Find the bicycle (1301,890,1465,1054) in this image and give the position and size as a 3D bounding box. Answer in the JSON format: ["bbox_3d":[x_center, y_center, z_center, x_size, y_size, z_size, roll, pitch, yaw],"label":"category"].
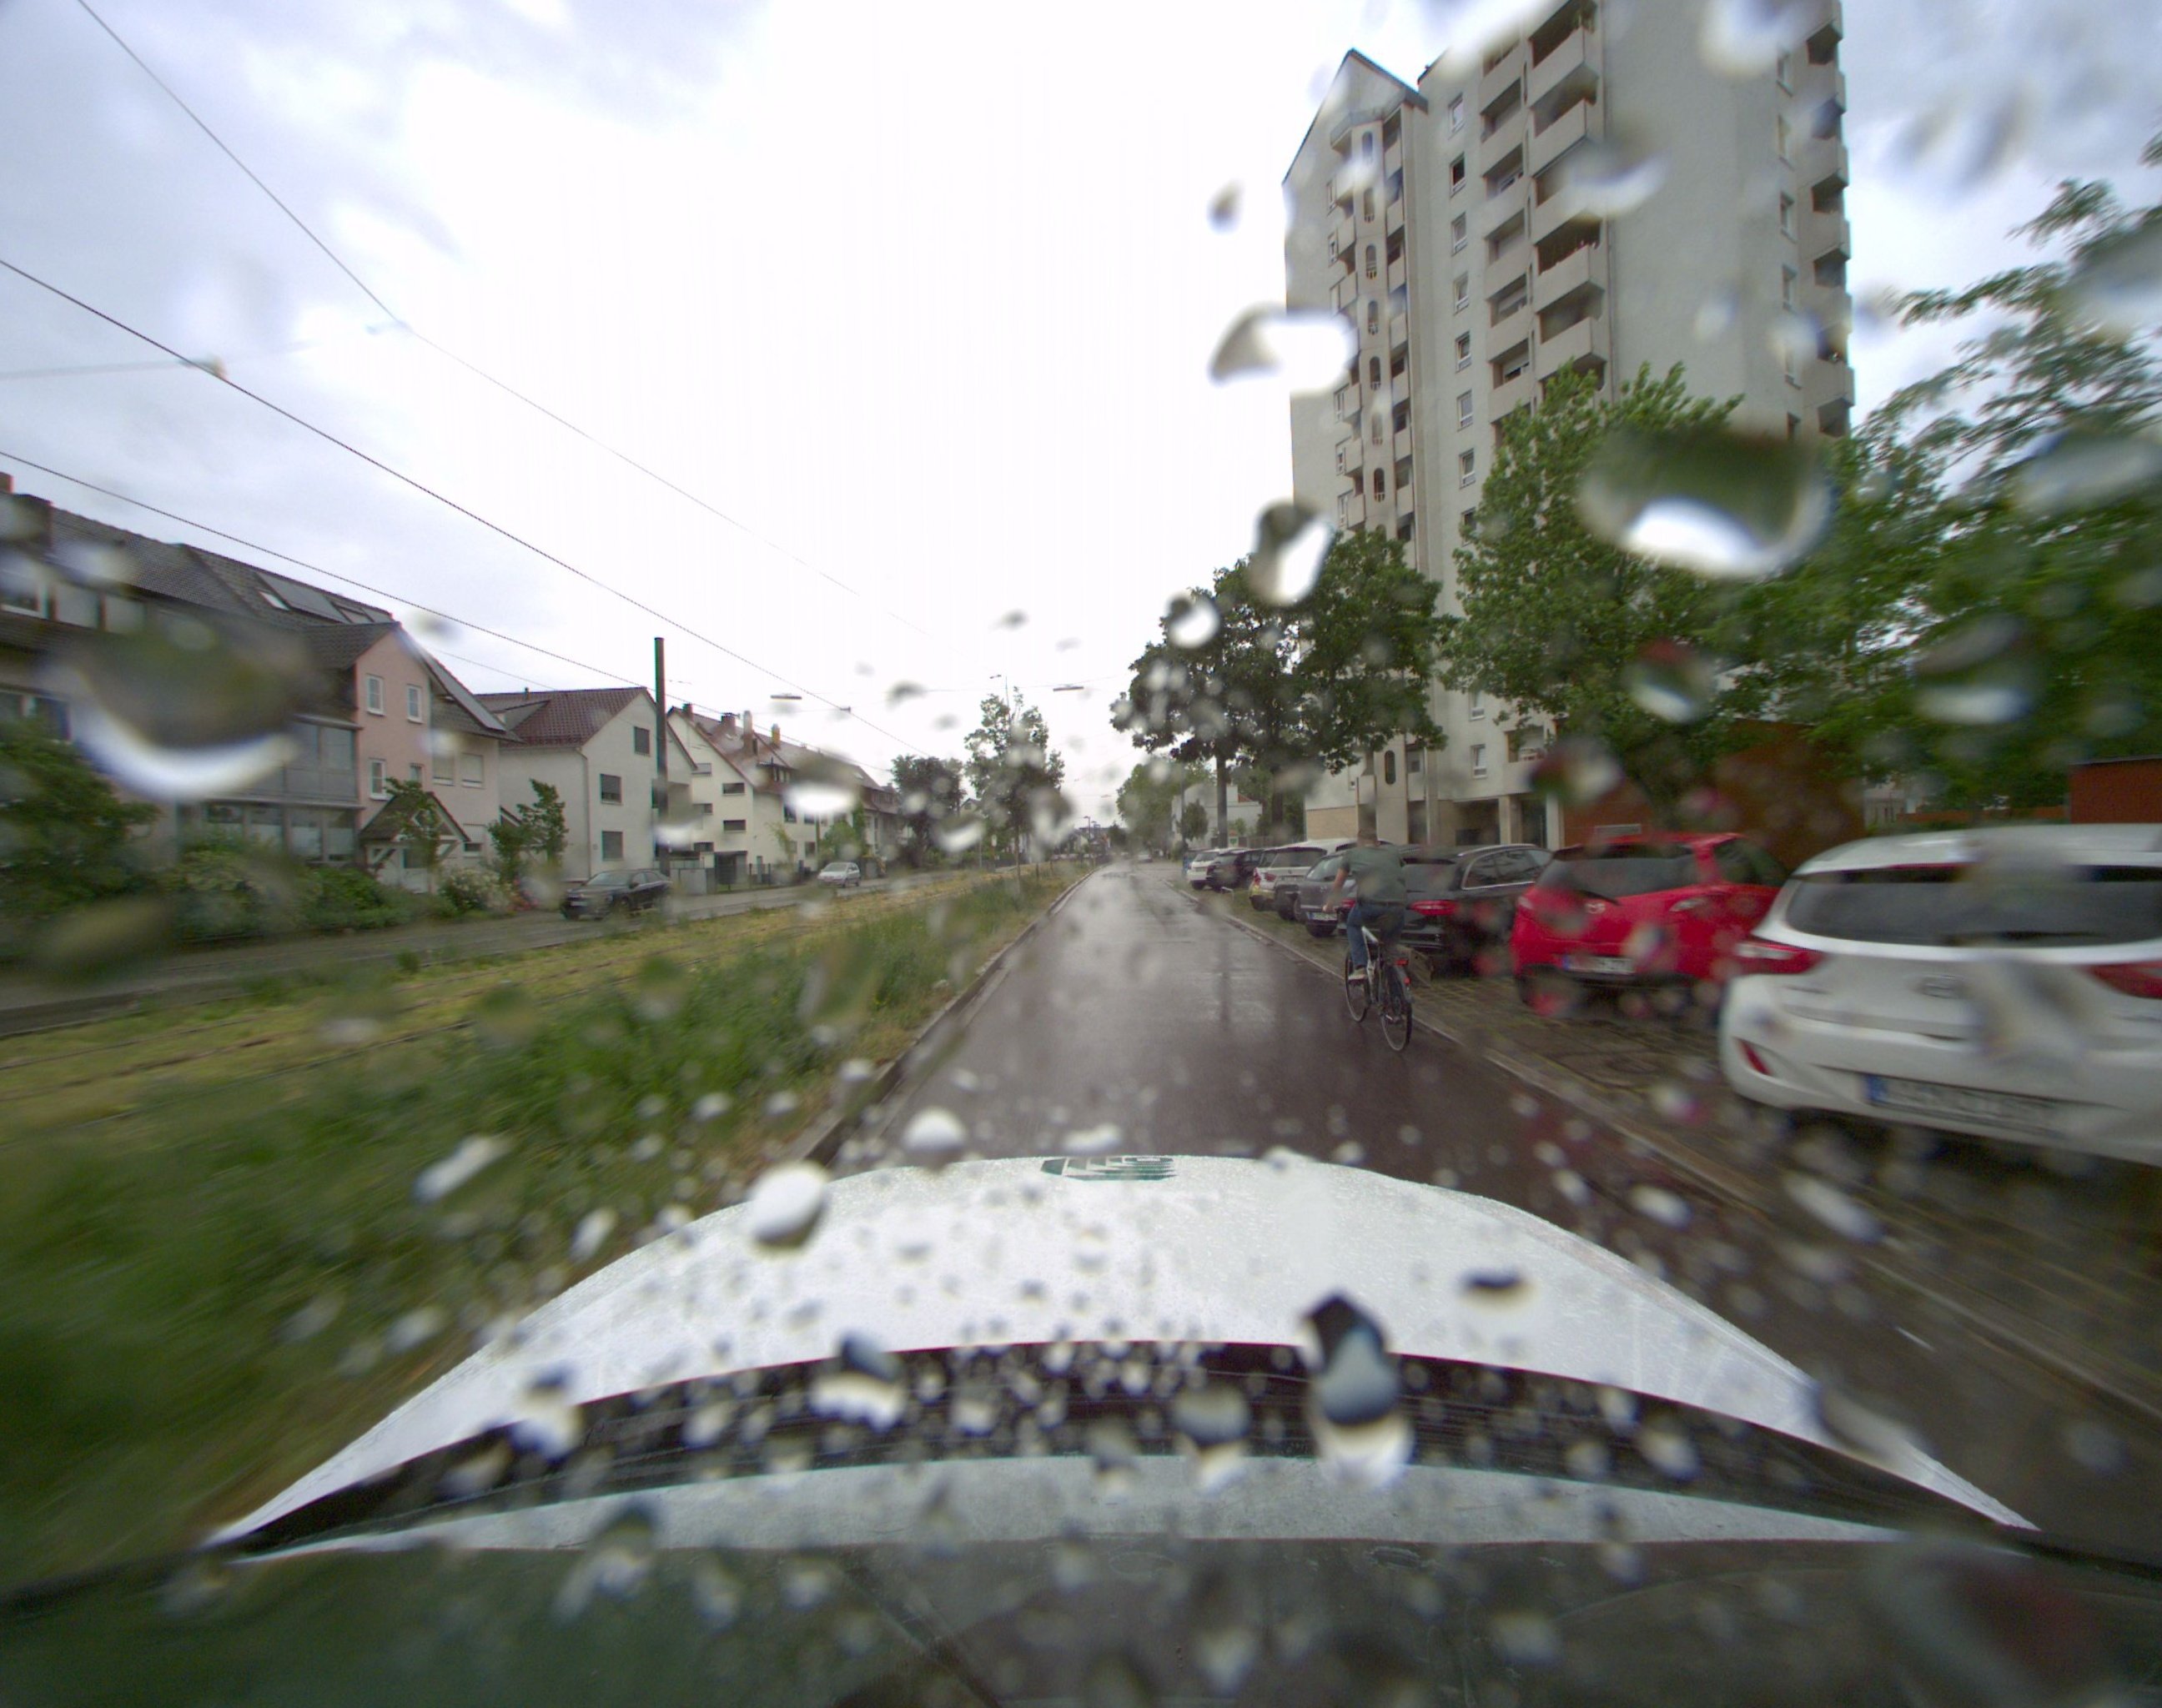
[{"bbox_3d":[2.417,0.881,6.777,0.535,1.093,1.946,-1,-1,-3],"label":"bicycle"}]

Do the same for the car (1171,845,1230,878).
[{"bbox_3d":[6.077,0.383,41.345,2.577,1.548,1.585,-2,-1,-38],"label":"car"}]

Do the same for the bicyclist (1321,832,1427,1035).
[{"bbox_3d":[2.384,0.619,6.695,0.533,1.559,0.771,-1,-1,-4],"label":"bicyclist"}]

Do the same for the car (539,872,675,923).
[{"bbox_3d":[-15.083,1.339,26.208,1.830,1.427,4.175,-1,-1,1],"label":"car"}]

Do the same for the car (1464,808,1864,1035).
[{"bbox_3d":[5.763,0.427,7.831,4.482,1.428,1.789,-5,2,-37],"label":"car"}]

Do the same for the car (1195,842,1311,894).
[{"bbox_3d":[6.076,0.461,28.594,3.962,1.431,1.666,-5,1,-35],"label":"car"}]

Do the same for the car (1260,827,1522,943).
[{"bbox_3d":[5.287,0.426,13.679,4.478,1.410,1.750,-5,1,-33],"label":"car"}]

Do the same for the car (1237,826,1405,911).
[{"bbox_3d":[5.999,0.308,20.187,4.204,1.671,1.666,-5,1,-35],"label":"car"}]

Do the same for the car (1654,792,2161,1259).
[{"bbox_3d":[5.232,0.502,4.482,4.478,1.465,1.801,-5,1,-33],"label":"car"}]

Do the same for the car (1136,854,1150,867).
[{"bbox_3d":[7.742,0.824,101.847,1.642,1.405,4.655,-5,-1,5],"label":"car"}]

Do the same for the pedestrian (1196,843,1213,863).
[{"bbox_3d":[9.778,-0.070,64.538,0.840,1.517,1.085,-1,-1,-27],"label":"pedestrian"}]

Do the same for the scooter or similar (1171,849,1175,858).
[{"bbox_3d":[11.304,-0.078,99.824,0.331,1.085,1.399,-1,-1,10],"label":"scooter or similar"}]

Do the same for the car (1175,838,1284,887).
[{"bbox_3d":[5.842,0.301,31.844,4.207,1.547,1.745,-5,2,-38],"label":"car"}]

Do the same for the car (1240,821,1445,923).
[{"bbox_3d":[5.589,0.302,17.116,4.483,1.671,1.792,-5,2,-38],"label":"car"}]

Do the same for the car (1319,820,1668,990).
[{"bbox_3d":[5.125,0.474,9.912,4.477,1.428,1.667,-5,1,-32],"label":"car"}]

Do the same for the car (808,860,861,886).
[{"bbox_3d":[-14.546,1.115,48.249,1.986,1.414,3.658,-1,-1,1],"label":"car"}]
